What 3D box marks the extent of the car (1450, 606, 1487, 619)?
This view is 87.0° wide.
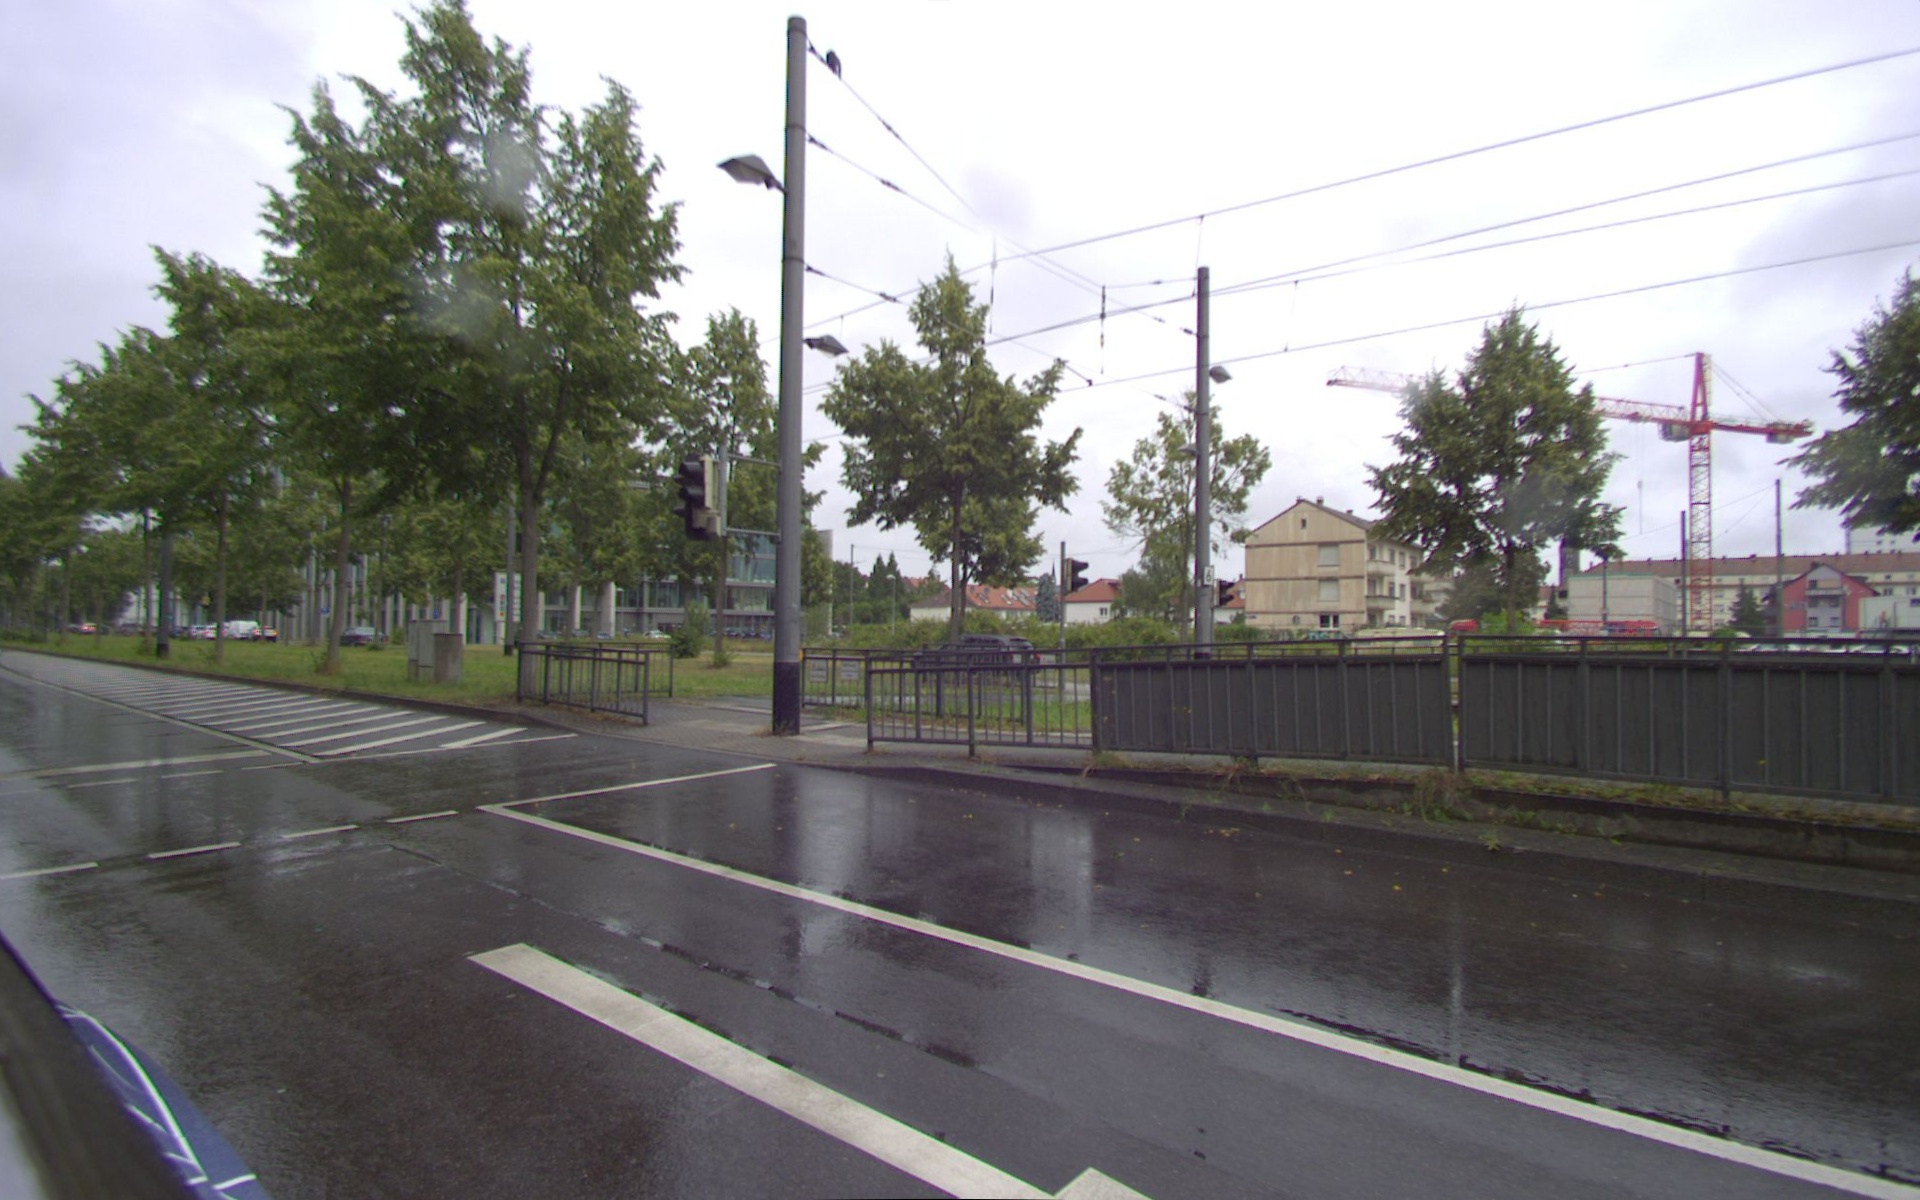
[{"bbox_3d":[51.919,1.269,103.381,3.248,1.222,1.471,-3,-3,24],"label":"car"}]

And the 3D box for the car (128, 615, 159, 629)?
[{"bbox_3d":[-92.396,2.556,114.492,4.601,1.396,1.930,-4,-4,41],"label":"car"}]

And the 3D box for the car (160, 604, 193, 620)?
[{"bbox_3d":[-83.191,1.320,107.418,3.958,1.506,1.931,-4,-4,39],"label":"car"}]

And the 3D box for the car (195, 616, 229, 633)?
[{"bbox_3d":[-70.941,2.367,95.931,1.928,1.472,4.833,2,-4,-45],"label":"car"}]

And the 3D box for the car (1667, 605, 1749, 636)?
[{"bbox_3d":[48.025,1.346,65.095,3.985,1.830,1.810,-3,-4,31],"label":"car"}]

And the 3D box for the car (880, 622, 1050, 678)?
[{"bbox_3d":[0.077,1.556,32.687,5.495,1.620,1.931,-1,-2,39],"label":"car"}]

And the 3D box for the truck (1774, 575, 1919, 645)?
[{"bbox_3d":[77.334,0.871,84.319,13.215,5.438,6.158,-2,-3,21],"label":"truck"}]

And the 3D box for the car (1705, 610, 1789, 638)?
[{"bbox_3d":[46.772,1.466,60.182,3.811,1.531,1.722,-4,-4,41],"label":"car"}]

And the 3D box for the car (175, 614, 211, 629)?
[{"bbox_3d":[-76.324,2.134,100.668,4.574,1.525,1.930,-1,-2,41],"label":"car"}]

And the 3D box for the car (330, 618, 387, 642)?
[{"bbox_3d":[-36.399,1.818,61.203,4.975,1.307,1.473,0,-1,41],"label":"car"}]

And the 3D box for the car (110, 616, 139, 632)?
[{"bbox_3d":[-100.208,2.860,121.409,4.541,1.863,1.930,-3,-3,41],"label":"car"}]

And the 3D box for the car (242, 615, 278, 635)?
[{"bbox_3d":[-65.335,2.333,94.457,4.578,1.762,1.929,-1,-2,45],"label":"car"}]

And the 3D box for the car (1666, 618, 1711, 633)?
[{"bbox_3d":[81.359,2.816,113.031,3.811,1.531,1.722,-4,-4,41],"label":"car"}]

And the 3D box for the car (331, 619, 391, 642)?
[{"bbox_3d":[-36.098,1.855,60.926,4.847,1.276,1.533,-3,-3,40],"label":"car"}]

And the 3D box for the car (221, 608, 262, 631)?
[{"bbox_3d":[-71.125,1.952,100.148,5.372,2.022,2.243,-4,-4,43],"label":"car"}]

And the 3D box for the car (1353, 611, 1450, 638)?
[{"bbox_3d":[30.385,1.716,69.844,5.771,1.685,2.026,-4,-4,40],"label":"car"}]

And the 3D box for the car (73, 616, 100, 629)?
[{"bbox_3d":[-105.965,2.724,122.738,4.574,1.463,1.930,-1,-2,41],"label":"car"}]

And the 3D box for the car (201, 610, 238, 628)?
[{"bbox_3d":[-76.981,2.004,105.220,5.024,1.664,1.931,-4,-4,39],"label":"car"}]
